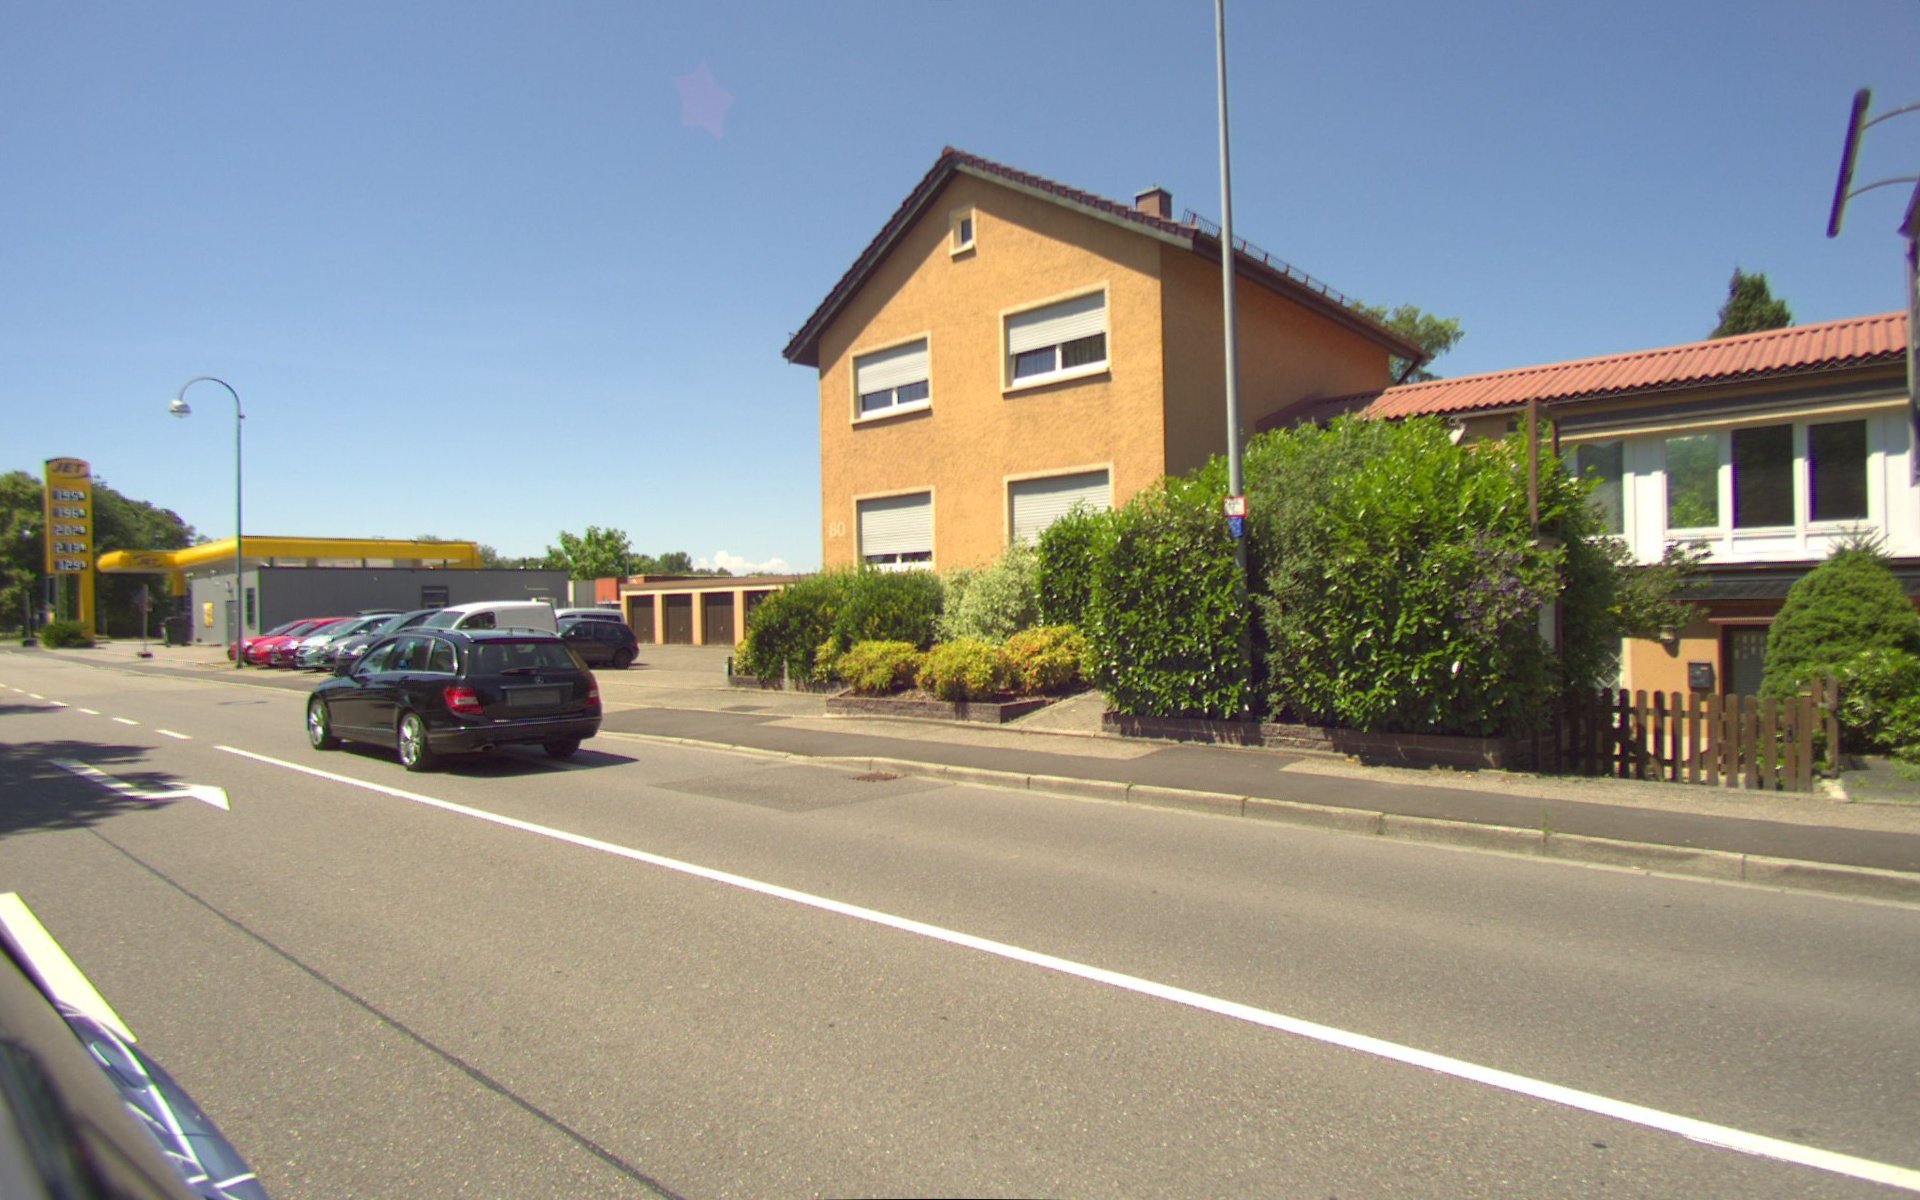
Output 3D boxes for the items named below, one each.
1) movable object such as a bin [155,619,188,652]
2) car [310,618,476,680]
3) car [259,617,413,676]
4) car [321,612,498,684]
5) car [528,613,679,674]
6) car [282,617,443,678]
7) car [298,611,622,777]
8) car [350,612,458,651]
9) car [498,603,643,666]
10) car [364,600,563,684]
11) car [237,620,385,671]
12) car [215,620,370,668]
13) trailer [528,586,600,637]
[{"bbox_3d":[-39.441,1.783,50.615,1.427,1.528,0.942,-3,2,42],"label":"movable object such as a bin"},{"bbox_3d":[-15.801,1.316,28.329,1.920,1.543,3.628,-1,0,38],"label":"car"},{"bbox_3d":[-19.098,1.366,31.084,1.879,1.617,3.628,-1,0,38],"label":"car"},{"bbox_3d":[-14.359,1.188,26.520,1.920,1.685,3.628,-1,0,38],"label":"car"},{"bbox_3d":[-10.779,1.279,30.829,1.828,1.580,3.948,-2,0,39],"label":"car"},{"bbox_3d":[-17.439,1.332,29.653,1.920,1.593,3.628,-1,0,38],"label":"car"},{"bbox_3d":[-5.724,0.930,11.344,4.274,1.506,1.692,-2,-1,40],"label":"car"},{"bbox_3d":[-25.141,1.389,45.815,1.754,1.596,3.943,-1,0,43],"label":"car"},{"bbox_3d":[-12.369,1.065,32.286,1.998,1.875,3.864,-2,-1,39],"label":"car"},{"bbox_3d":[-12.437,0.988,25.556,1.996,1.912,4.057,-1,0,36],"label":"car"},{"bbox_3d":[-20.949,1.411,32.765,1.890,1.468,3.628,-1,0,38],"label":"car"},{"bbox_3d":[-22.655,1.456,34.474,1.825,1.455,4.084,-1,0,40],"label":"car"},{"bbox_3d":[-26.114,0.780,66.626,5.911,3.244,1.845,-2,-1,42],"label":"trailer"}]
